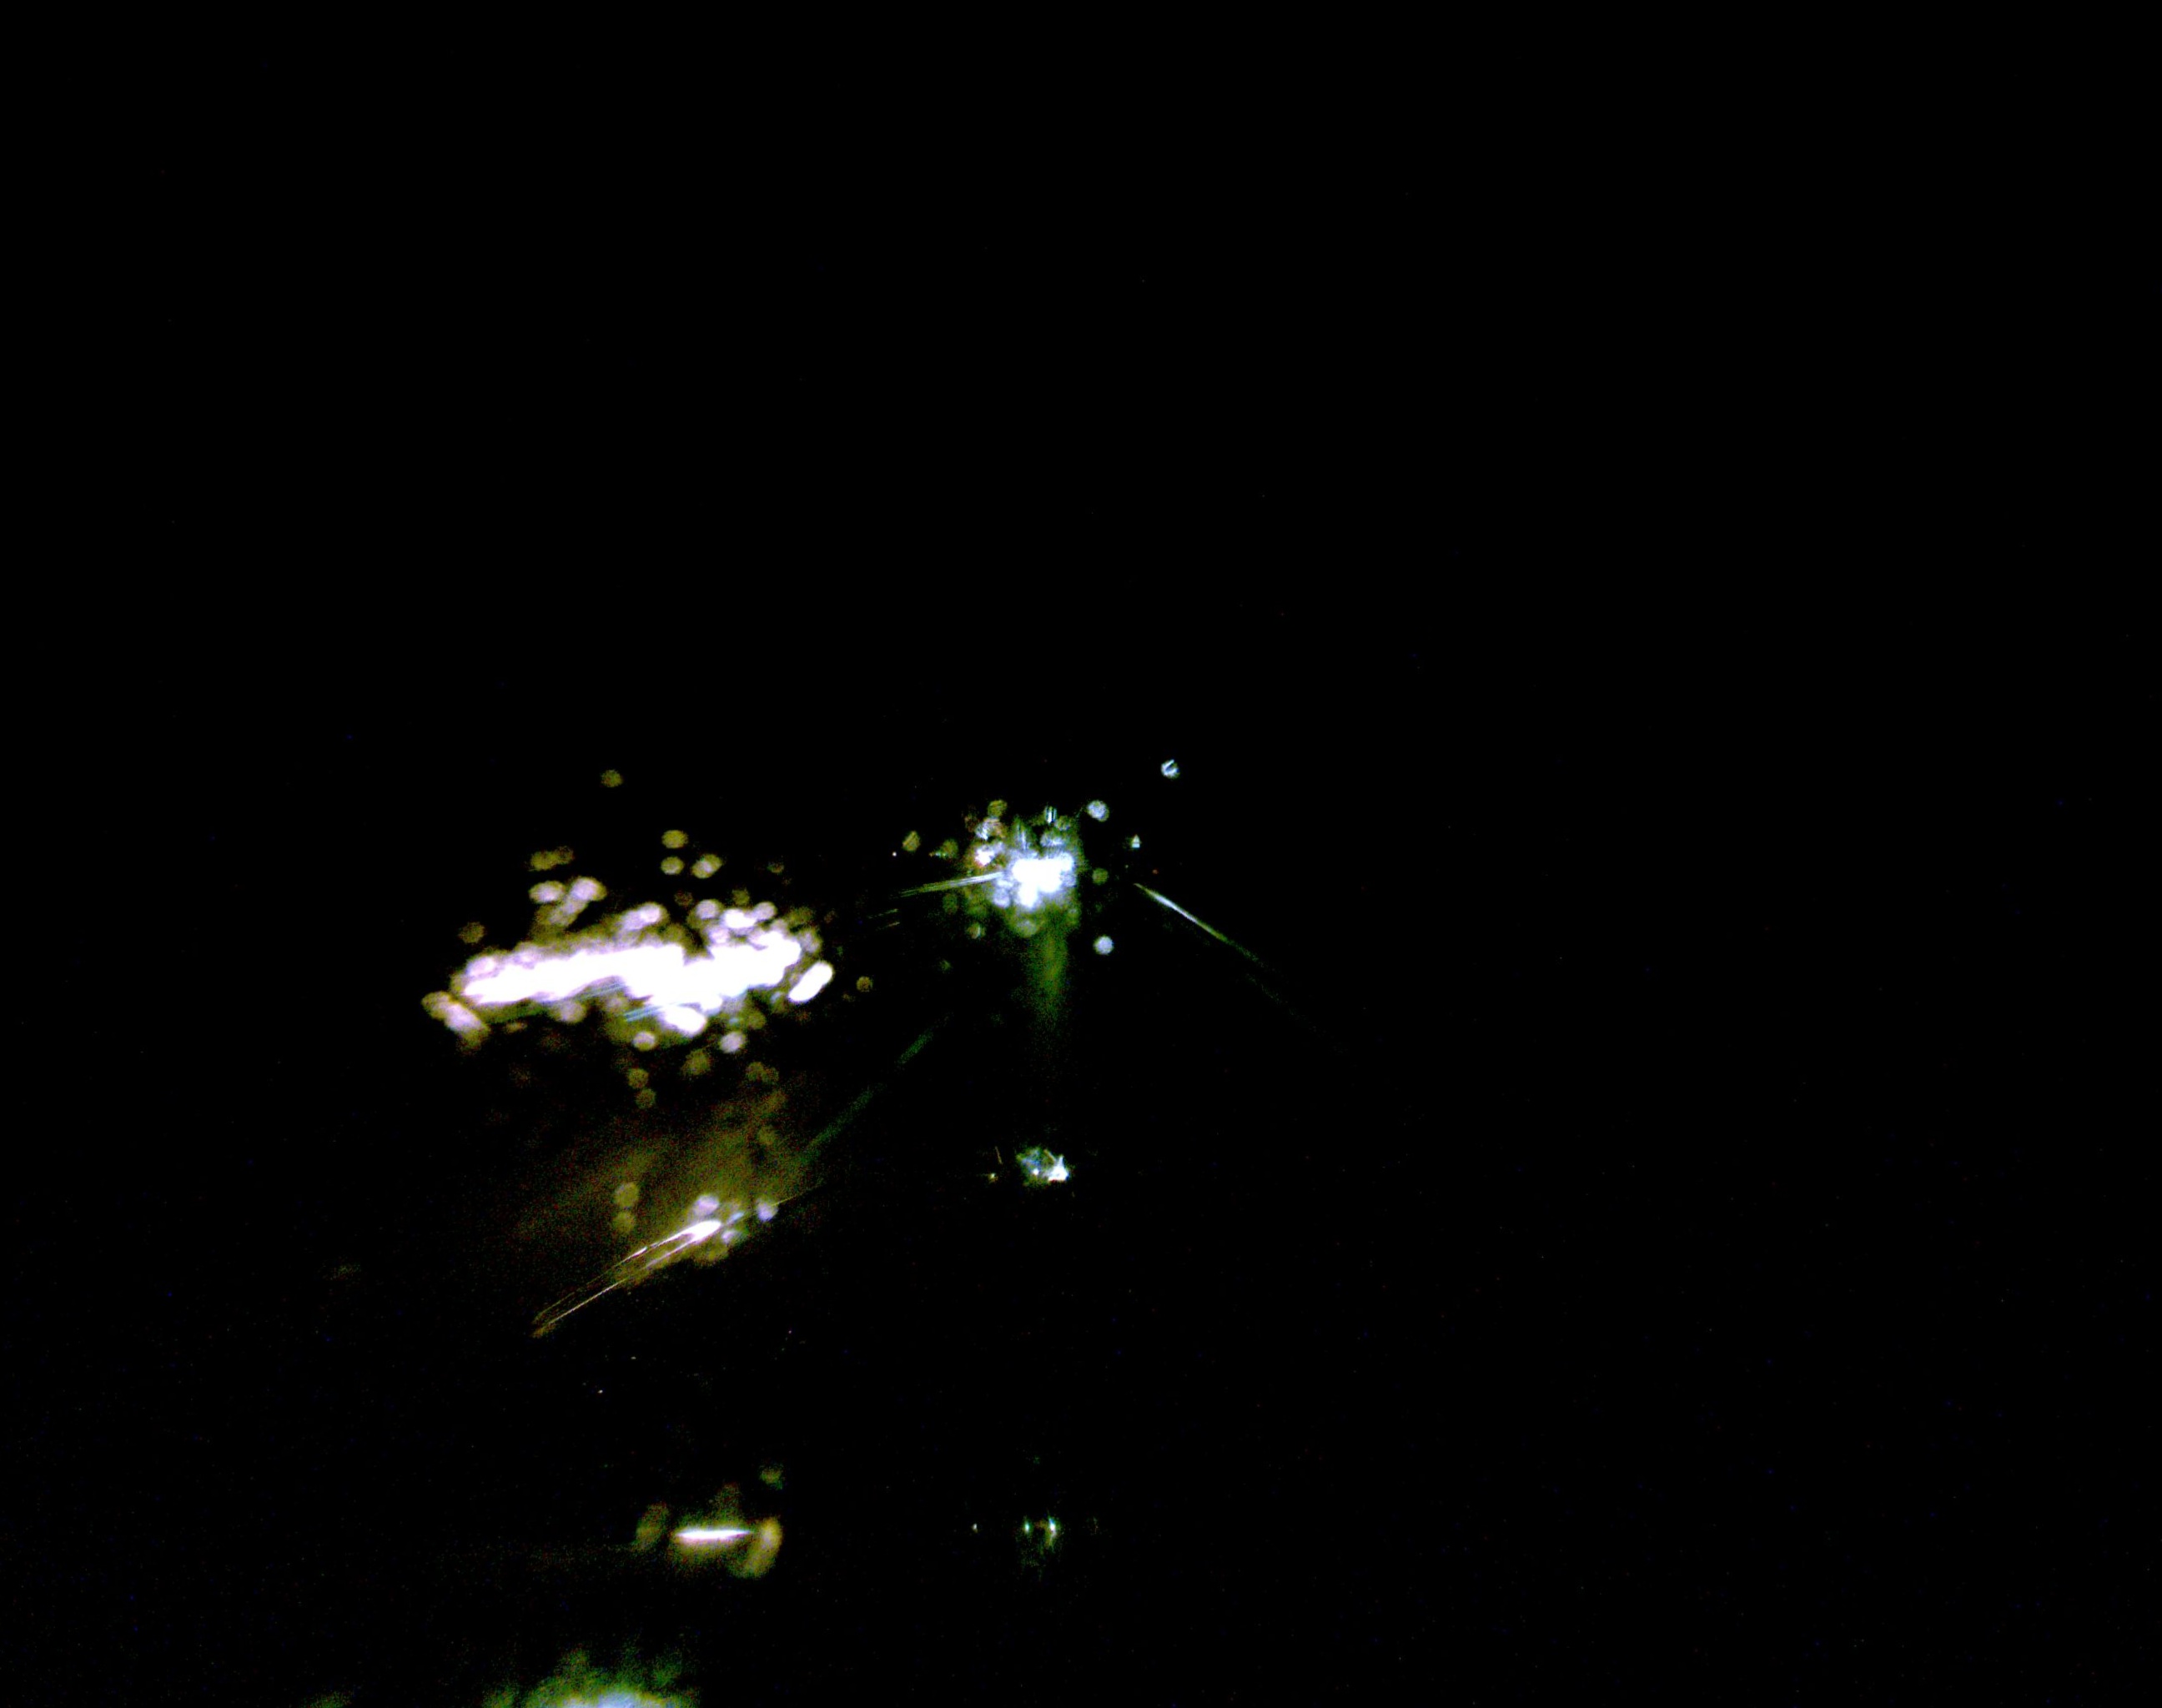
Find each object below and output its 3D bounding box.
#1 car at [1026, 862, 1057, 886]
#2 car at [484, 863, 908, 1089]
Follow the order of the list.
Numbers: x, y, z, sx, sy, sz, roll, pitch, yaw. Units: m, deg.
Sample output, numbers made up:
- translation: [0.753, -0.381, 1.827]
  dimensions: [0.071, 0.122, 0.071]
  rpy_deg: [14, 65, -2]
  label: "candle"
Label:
- translation: [-2.831, 1.419, 58.919]
  dimensions: [1.987, 1.612, 4.097]
  rpy_deg: [-3, -1, 0]
  label: "car"
- translation: [-3.082, 0.857, 7.649]
  dimensions: [1.987, 1.457, 4.097]
  rpy_deg: [-3, -1, 0]
  label: "car"
